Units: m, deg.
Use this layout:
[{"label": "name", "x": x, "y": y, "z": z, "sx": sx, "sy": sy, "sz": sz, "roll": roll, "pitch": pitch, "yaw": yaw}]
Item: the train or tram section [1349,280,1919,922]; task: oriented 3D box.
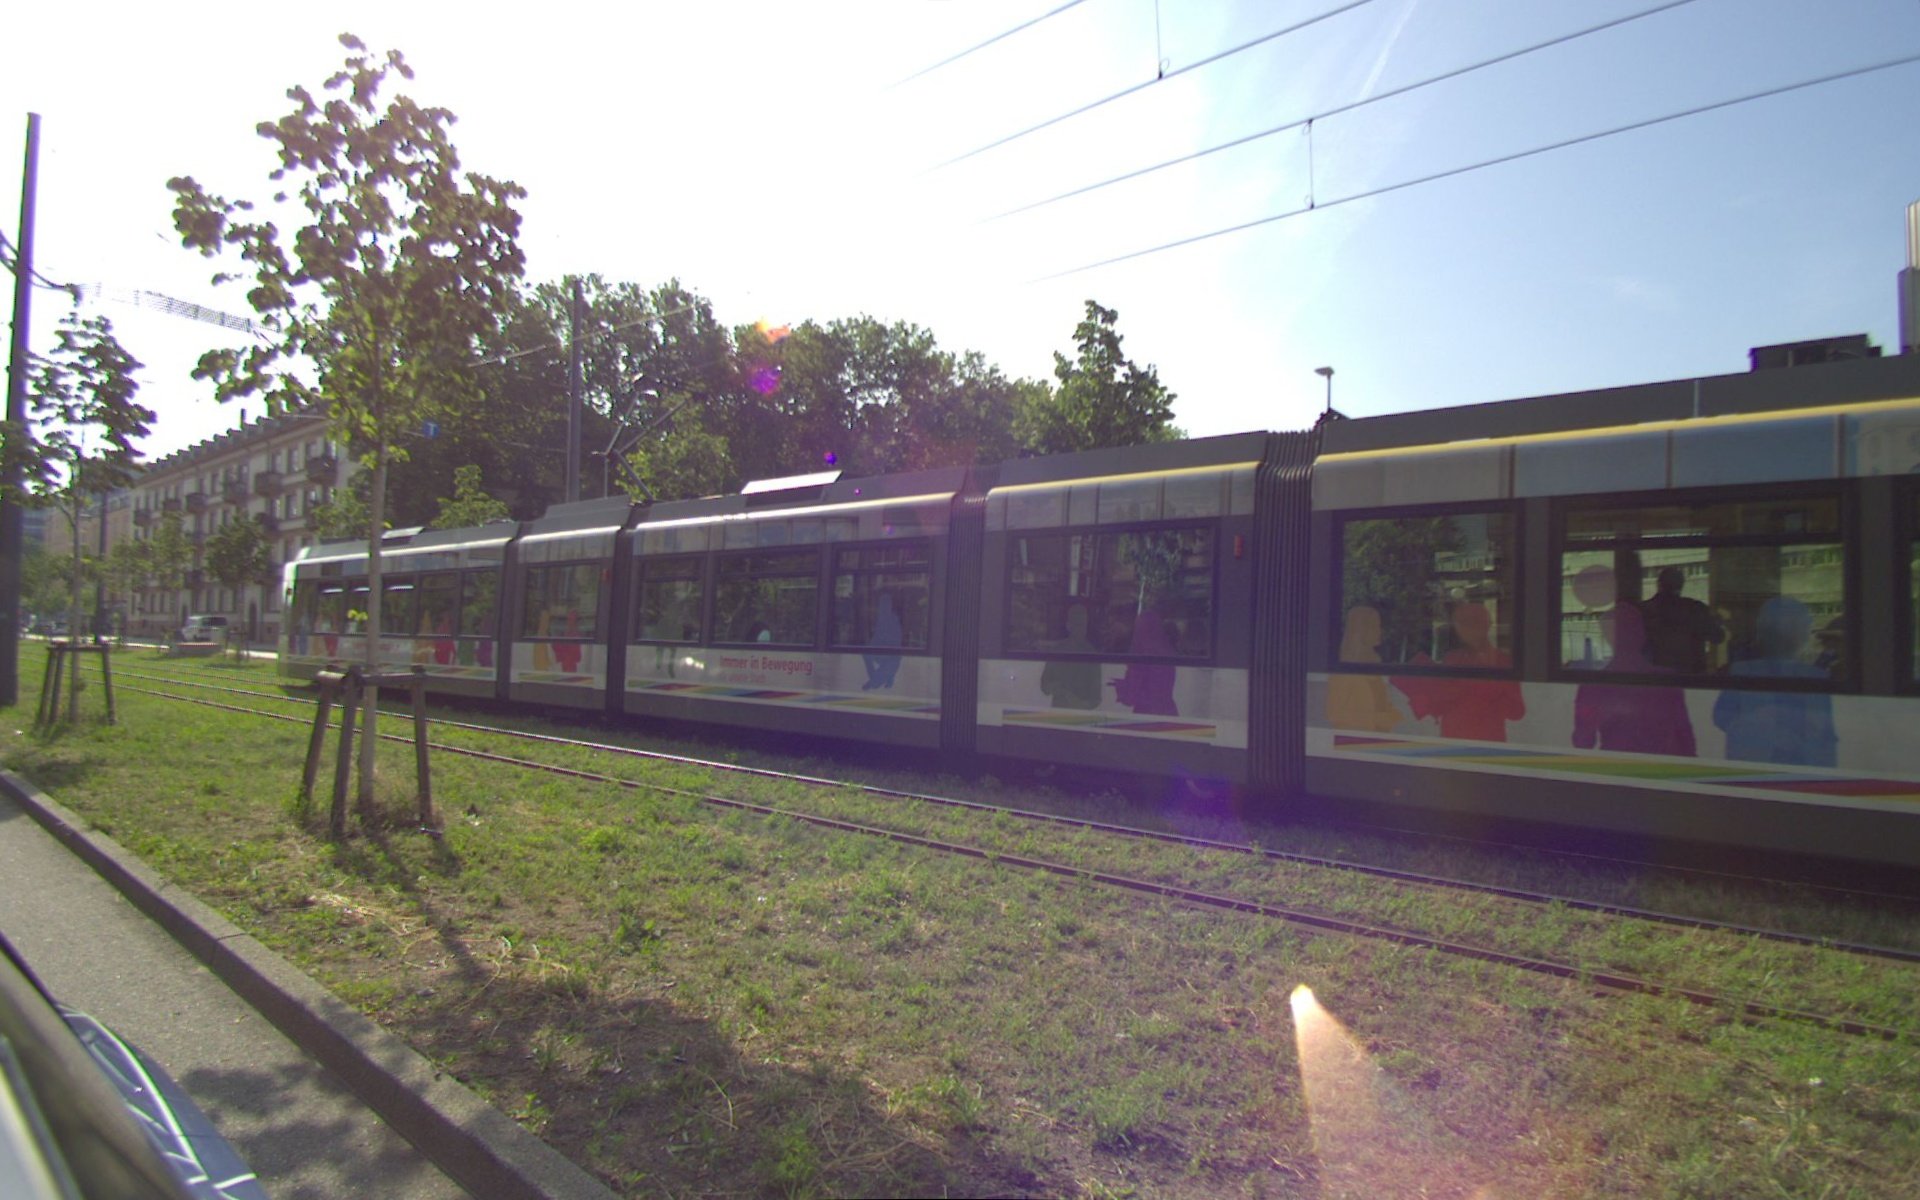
[{"label": "train or tram section", "x": 8.560, "y": 0.038, "z": 4.903, "sx": 12.215, "sy": 3.614, "sz": 2.869, "roll": 0, "pitch": -3, "yaw": 40}]

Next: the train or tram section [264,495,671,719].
[{"label": "train or tram section", "x": -11.025, "y": 0.188, "z": 21.479, "sx": 12.467, "sy": 3.614, "sz": 2.869, "roll": 0, "pitch": -3, "yaw": 40}]

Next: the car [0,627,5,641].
[{"label": "car", "x": -135.615, "y": 4.761, "z": 141.953, "sx": 5.046, "sy": 1.909, "sz": 1.972, "roll": -1, "pitch": -3, "yaw": 43}]

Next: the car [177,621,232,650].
[{"label": "car", "x": -52.623, "y": 2.432, "z": 70.487, "sx": 5.149, "sy": 1.932, "sz": 1.973, "roll": -1, "pitch": -1, "yaw": 40}]

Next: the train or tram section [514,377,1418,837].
[{"label": "train or tram section", "x": -1.257, "y": 0.123, "z": 13.222, "sx": 12.923, "sy": 3.614, "sz": 2.869, "roll": 0, "pitch": -3, "yaw": 40}]

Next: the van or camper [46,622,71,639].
[{"label": "van or camper", "x": -109.486, "y": 3.707, "z": 122.869, "sx": 4.001, "sy": 1.983, "sz": 1.908, "roll": -1, "pitch": -3, "yaw": 44}]
